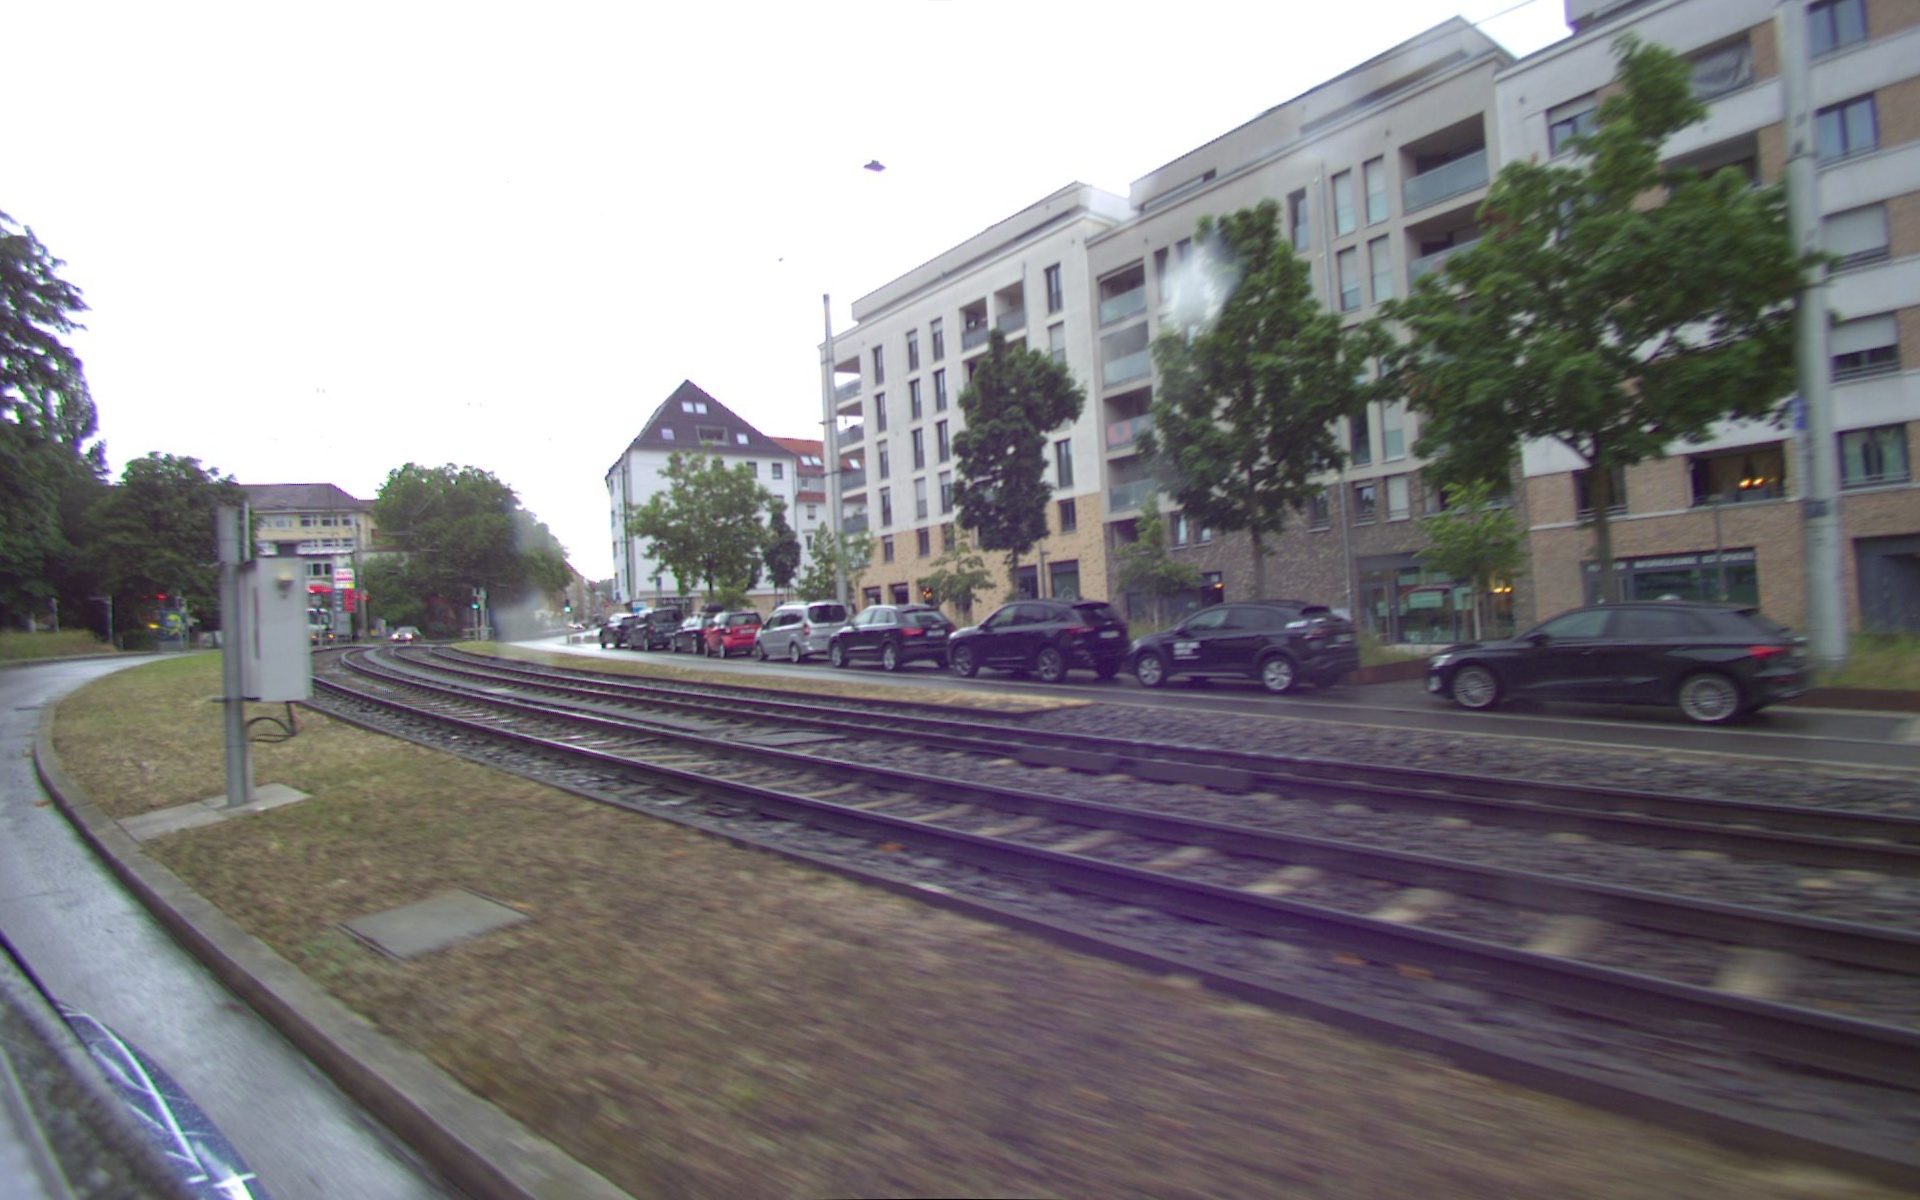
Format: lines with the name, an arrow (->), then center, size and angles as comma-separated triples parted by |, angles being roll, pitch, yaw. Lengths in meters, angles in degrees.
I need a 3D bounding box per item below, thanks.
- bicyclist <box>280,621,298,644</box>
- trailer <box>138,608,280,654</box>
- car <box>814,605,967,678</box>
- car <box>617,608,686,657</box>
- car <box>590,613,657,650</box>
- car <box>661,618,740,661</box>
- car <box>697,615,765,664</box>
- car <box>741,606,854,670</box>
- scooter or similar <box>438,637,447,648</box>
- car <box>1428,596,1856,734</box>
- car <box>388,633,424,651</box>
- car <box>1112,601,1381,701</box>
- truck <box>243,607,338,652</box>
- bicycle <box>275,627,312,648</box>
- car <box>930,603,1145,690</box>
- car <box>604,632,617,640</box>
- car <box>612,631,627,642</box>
bicyclist -> -37.784, 1.826, 56.982 | 0.787, 1.304, 0.596 | -1, 0, -38
trailer -> -61.097, 2.530, 82.462 | 9.705, 3.421, 2.811 | -2, -1, 3
car -> -1.881, 1.017, 25.867 | 1.709, 1.657, 4.542 | -2, 0, -36
car -> -13.120, 1.357, 42.868 | 1.560, 1.873, 4.344 | -3, 0, -33
car -> -15.683, 1.439, 47.019 | 1.966, 1.617, 4.227 | -1, -1, -33
car -> -9.927, 1.470, 38.497 | 1.529, 1.458, 4.411 | -2, 0, -33
car -> -7.857, 1.325, 34.622 | 1.449, 1.542, 2.940 | -1, -1, -29
car -> -4.999, 1.116, 30.712 | 1.641, 1.761, 4.267 | -1, -1, -36
scooter or similar -> -60.570, 4.929, 118.373 | 0.395, 1.201, 1.364 | -1, 1, -3
car -> 8.603, 0.743, 13.068 | 1.942, 1.442, 4.205 | -2, 0, -41
car -> -49.675, 3.730, 90.799 | 1.859, 1.502, 3.859 | -1, -1, -13
car -> 4.902, 0.841, 17.794 | 1.716, 1.500, 4.261 | -2, 0, -43
truck -> -54.328, 2.389, 82.233 | 6.047, 3.425, 2.833 | -1, -2, 5
bicycle -> -37.523, 2.098, 56.979 | 1.684, 1.149, 0.627 | -1, -1, -37
car -> 1.500, 0.936, 21.439 | 1.780, 1.595, 4.707 | -1, 0, -38
car -> -74.987, 7.721, 216.993 | 1.663, 1.548, 5.032 | -1, -2, -30
car -> -50.783, 5.446, 150.842 | 1.996, 1.554, 4.012 | -1, -1, -19
